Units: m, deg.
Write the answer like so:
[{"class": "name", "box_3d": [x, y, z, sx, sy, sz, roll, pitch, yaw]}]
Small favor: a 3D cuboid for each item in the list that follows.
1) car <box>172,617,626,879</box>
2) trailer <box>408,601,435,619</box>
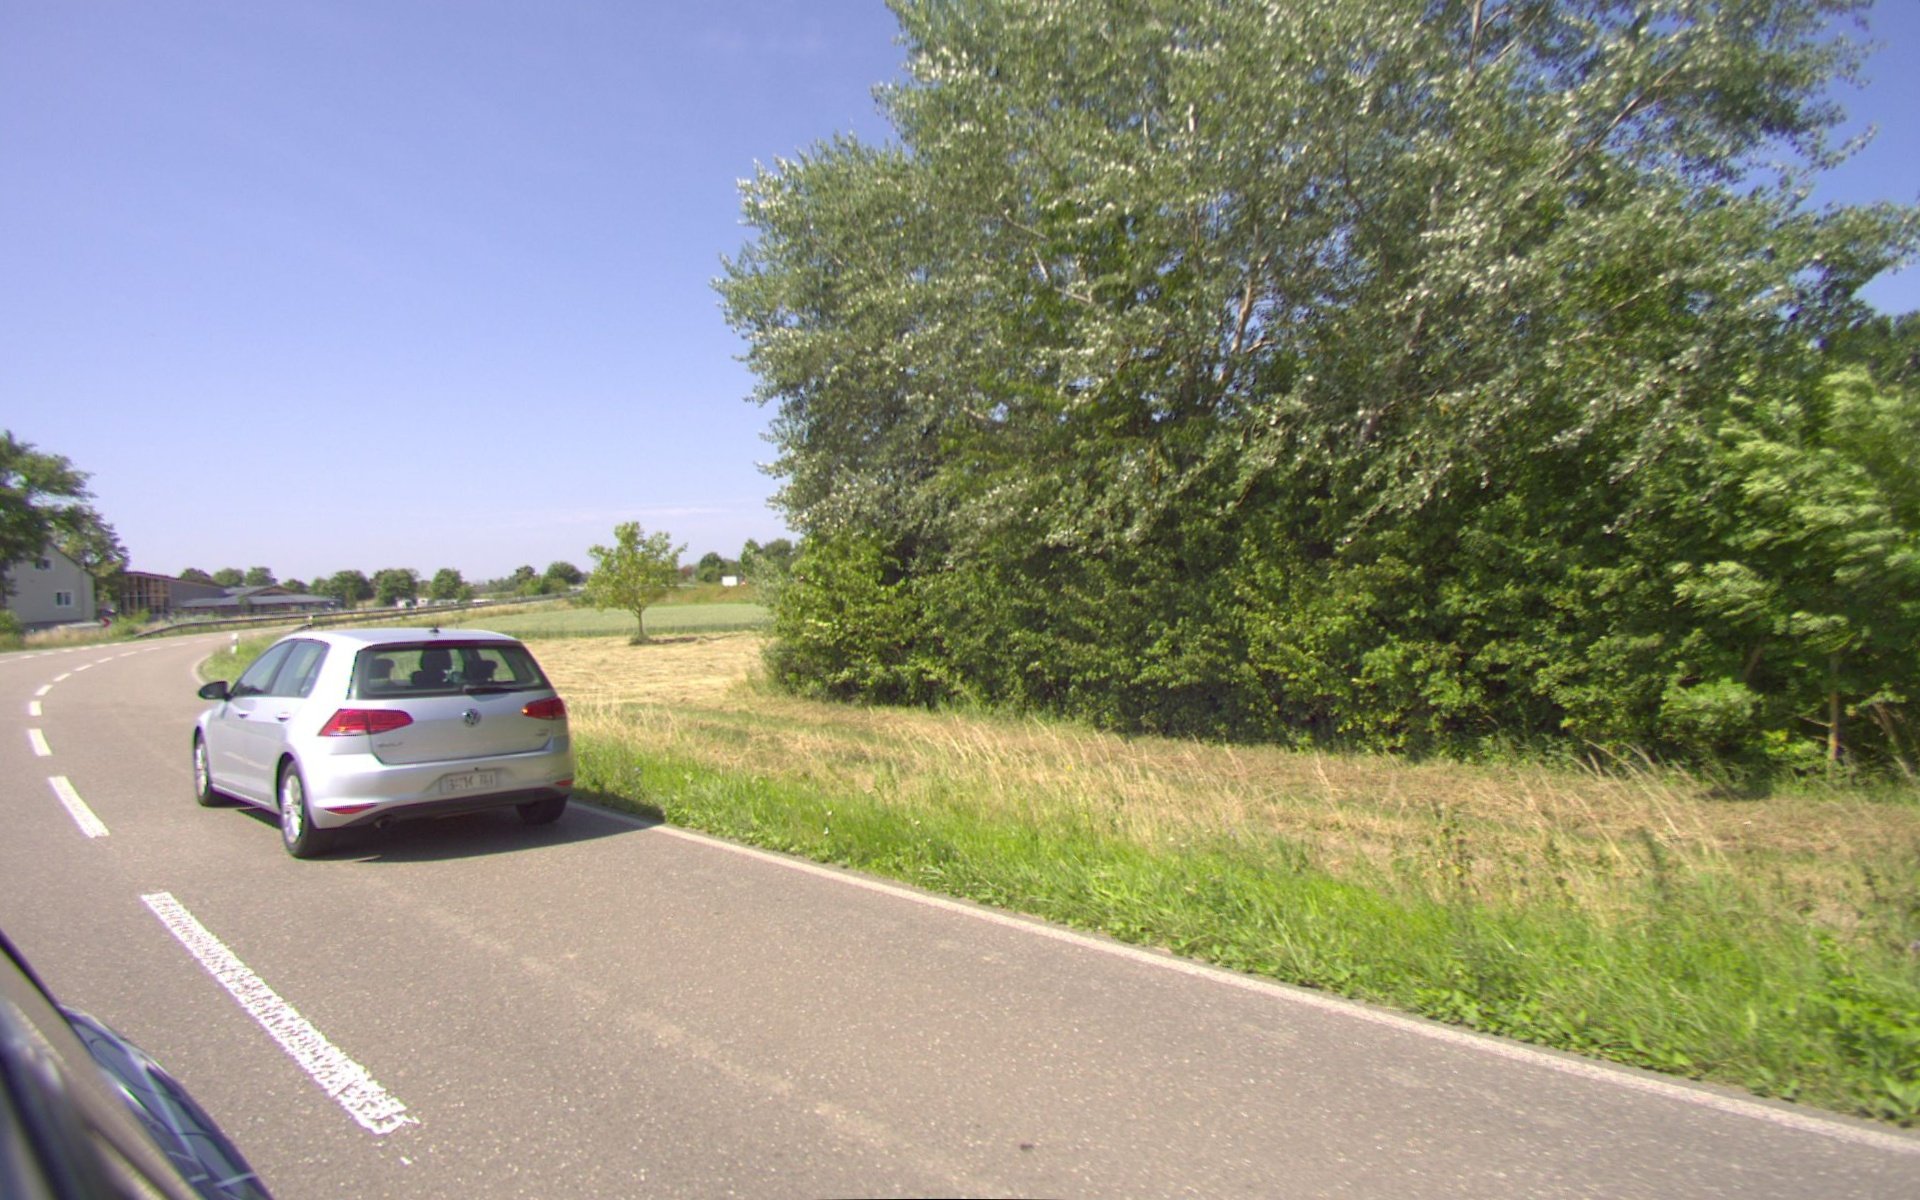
[{"class": "car", "box_3d": [-4.371, 0.876, 7.604, 4.059, 1.438, 1.764, -1, -3, 42]}, {"class": "trailer", "box_3d": [-87.888, 1.655, 165.161, 5.045, 2.886, 2.203, -1, 1, 43]}]
